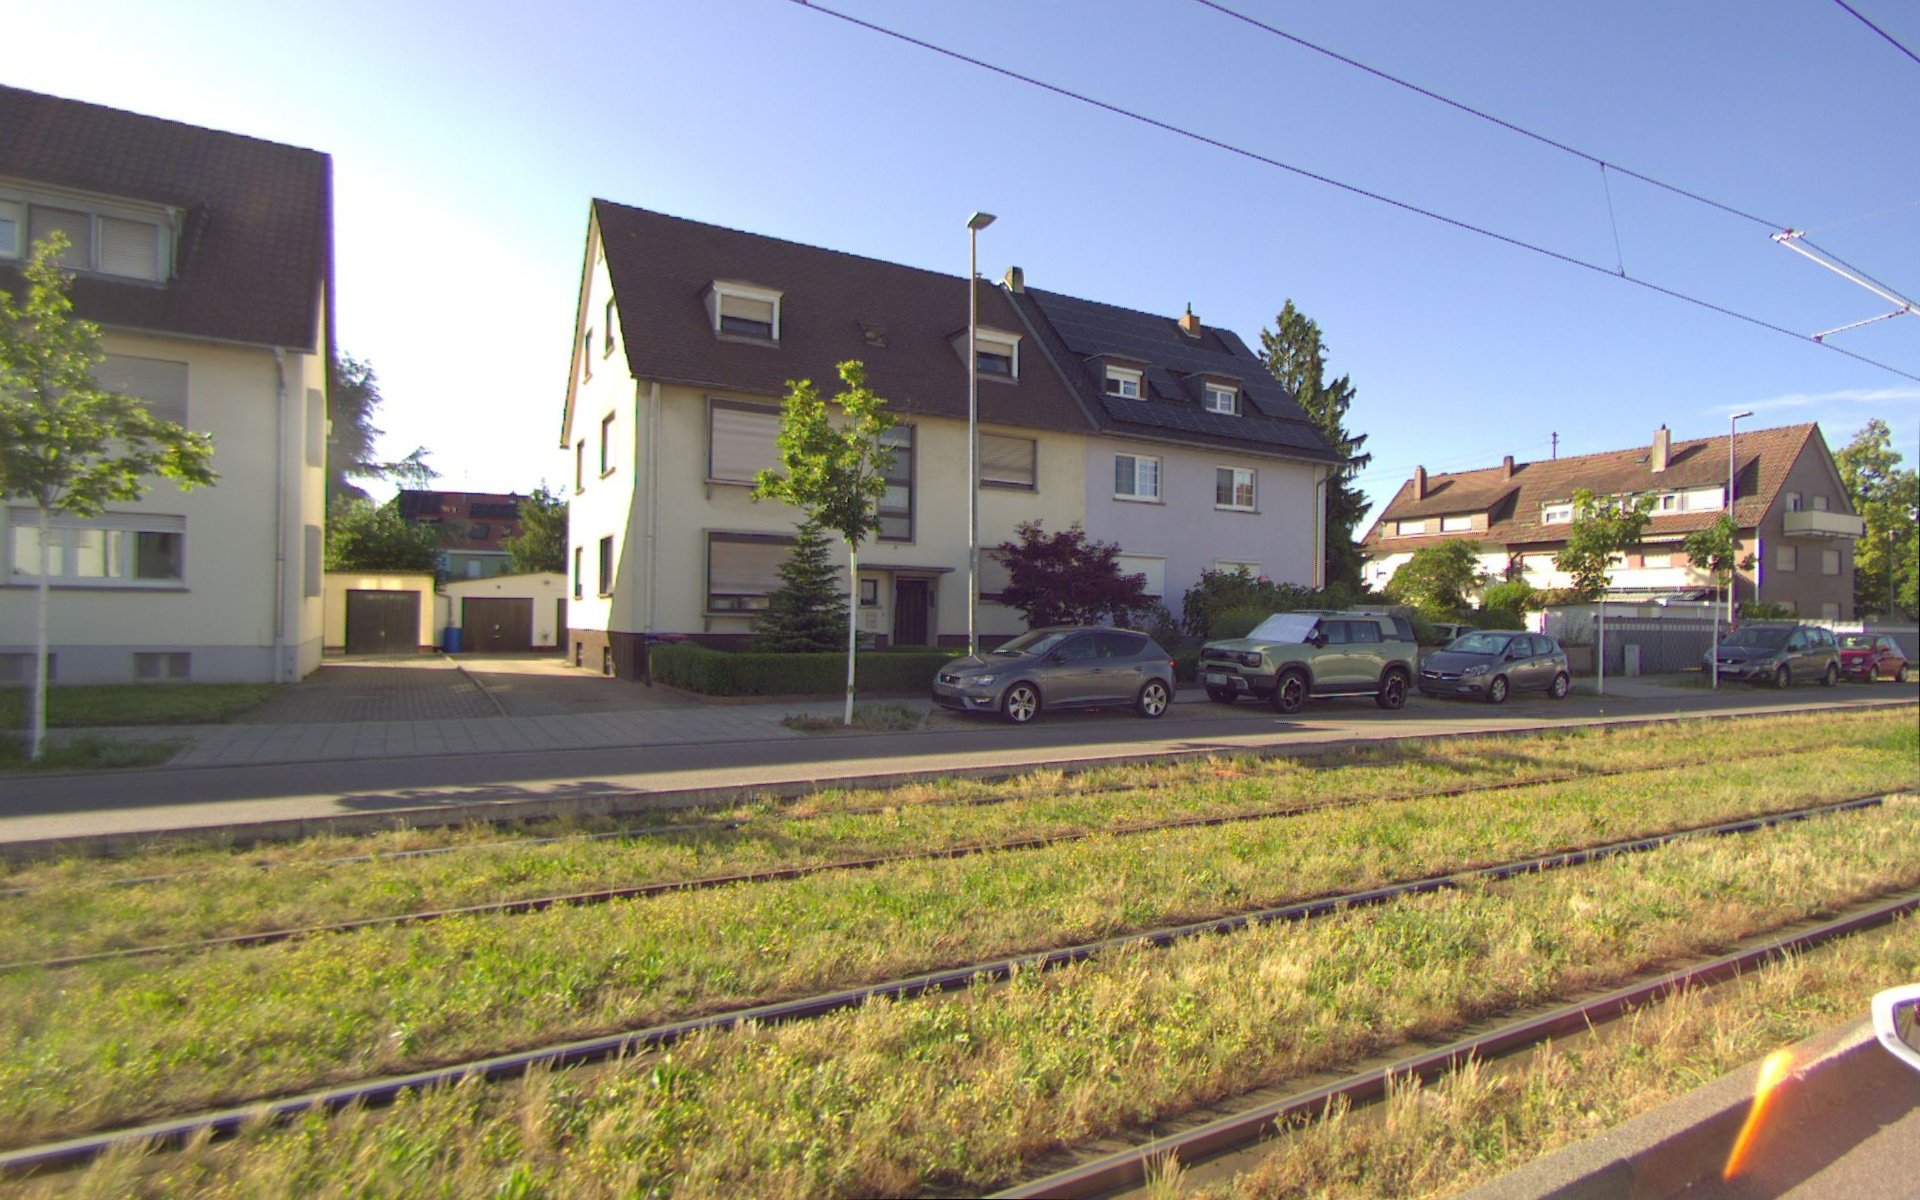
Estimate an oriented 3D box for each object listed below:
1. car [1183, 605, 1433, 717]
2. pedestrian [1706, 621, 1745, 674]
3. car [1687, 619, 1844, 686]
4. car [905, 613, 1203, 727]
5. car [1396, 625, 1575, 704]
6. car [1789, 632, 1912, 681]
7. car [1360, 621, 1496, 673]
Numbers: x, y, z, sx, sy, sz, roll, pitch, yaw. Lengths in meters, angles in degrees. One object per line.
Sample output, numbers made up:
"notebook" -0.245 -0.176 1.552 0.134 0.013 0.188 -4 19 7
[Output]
"car" 6.634 1.091 19.002 4.784 1.847 1.737 1 1 -30
"pedestrian" 24.787 1.546 32.539 0.910 1.662 0.692 2 0 -32
"car" 22.848 1.455 28.457 4.788 1.707 1.811 1 1 -30
"car" 1.569 1.075 16.295 4.503 1.561 1.951 2 0 -30
"car" 11.529 1.367 21.991 4.005 1.511 1.667 2 1 -32
"car" 27.949 1.745 31.500 4.029 1.423 1.688 1 -1 -30
"car" 14.678 1.432 31.672 1.684 1.493 3.598 2 -1 -28
